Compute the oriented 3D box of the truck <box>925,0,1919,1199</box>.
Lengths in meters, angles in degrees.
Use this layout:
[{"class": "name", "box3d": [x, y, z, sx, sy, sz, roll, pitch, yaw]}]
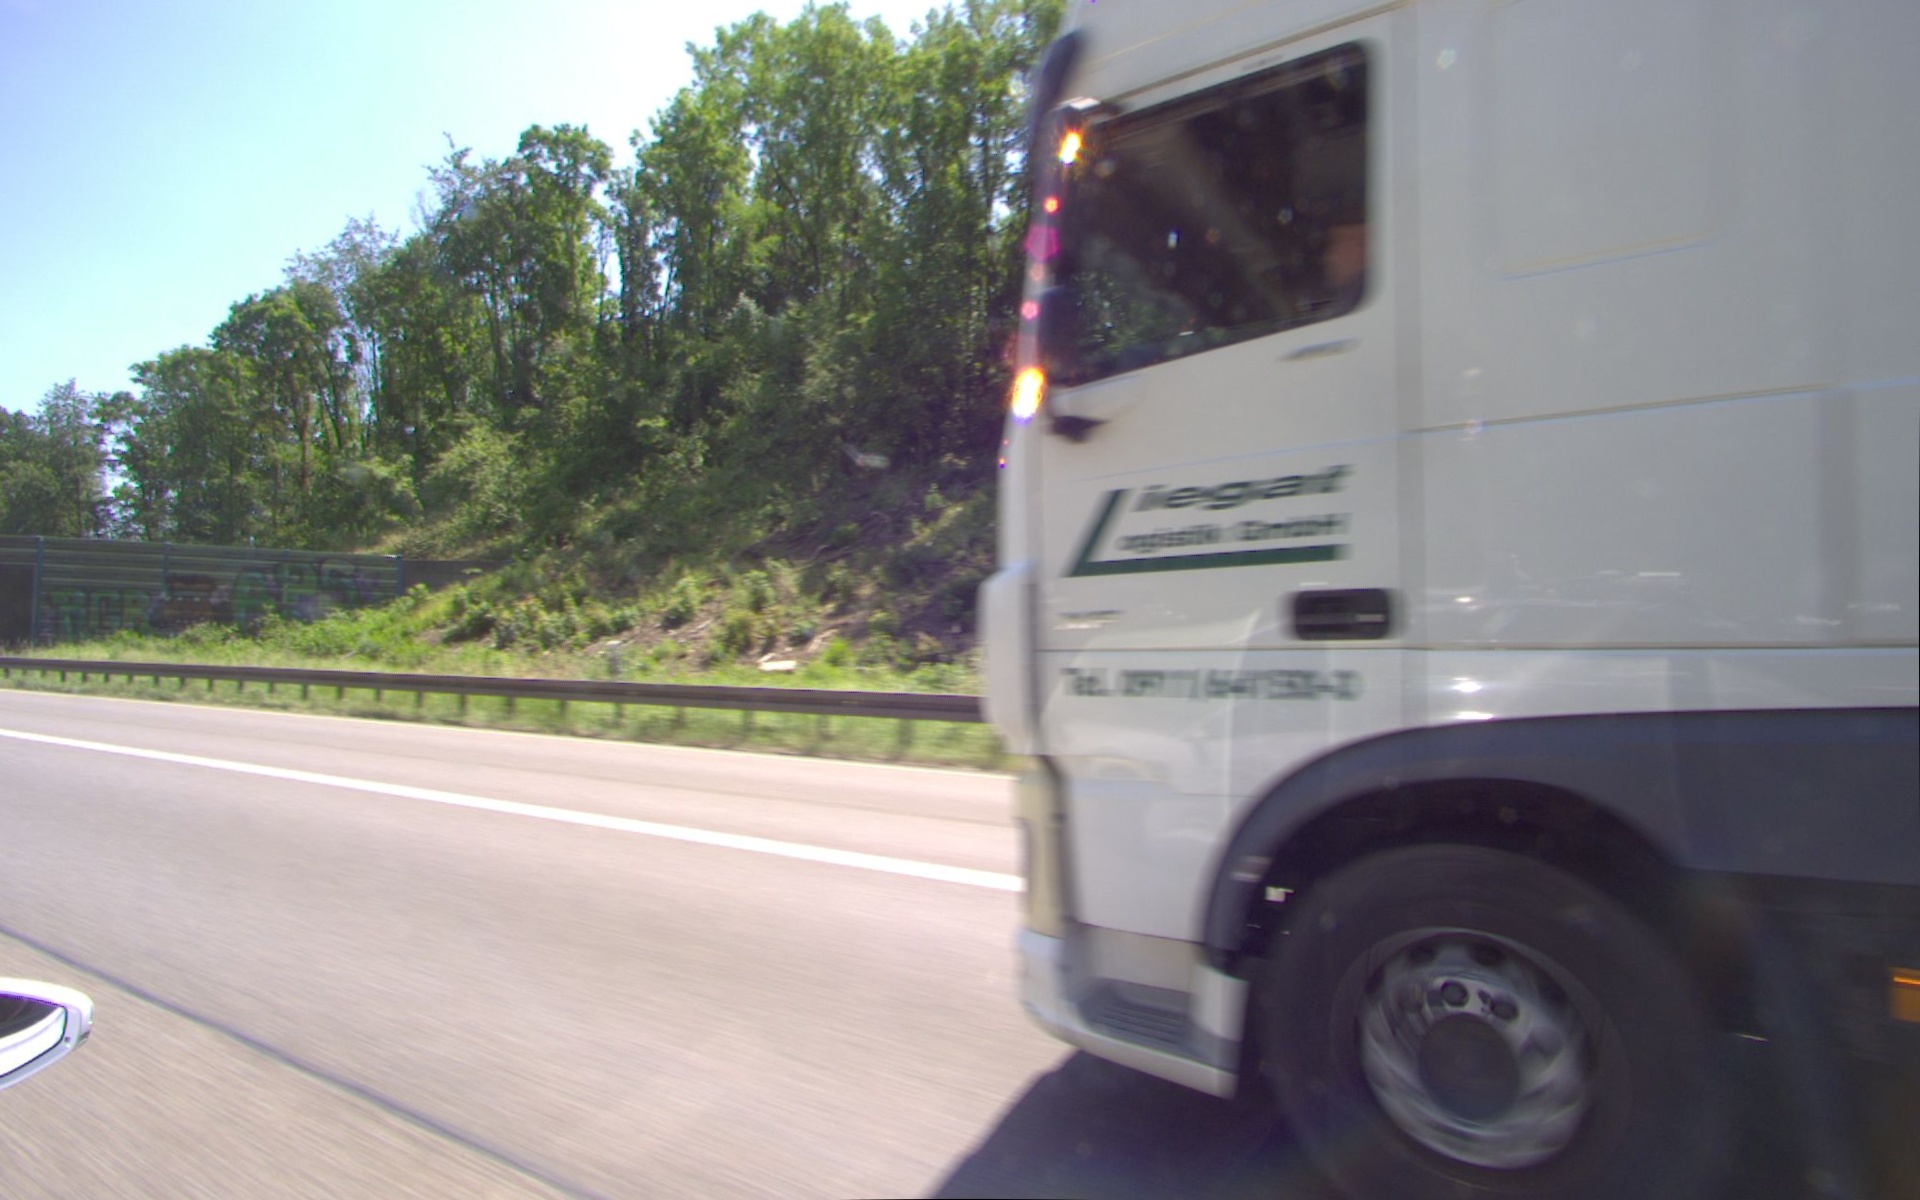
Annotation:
[{"class": "truck", "box3d": [3.094, -0.552, 2.603, 5.785, 4.259, 2.781, 0, -1, 32]}]
